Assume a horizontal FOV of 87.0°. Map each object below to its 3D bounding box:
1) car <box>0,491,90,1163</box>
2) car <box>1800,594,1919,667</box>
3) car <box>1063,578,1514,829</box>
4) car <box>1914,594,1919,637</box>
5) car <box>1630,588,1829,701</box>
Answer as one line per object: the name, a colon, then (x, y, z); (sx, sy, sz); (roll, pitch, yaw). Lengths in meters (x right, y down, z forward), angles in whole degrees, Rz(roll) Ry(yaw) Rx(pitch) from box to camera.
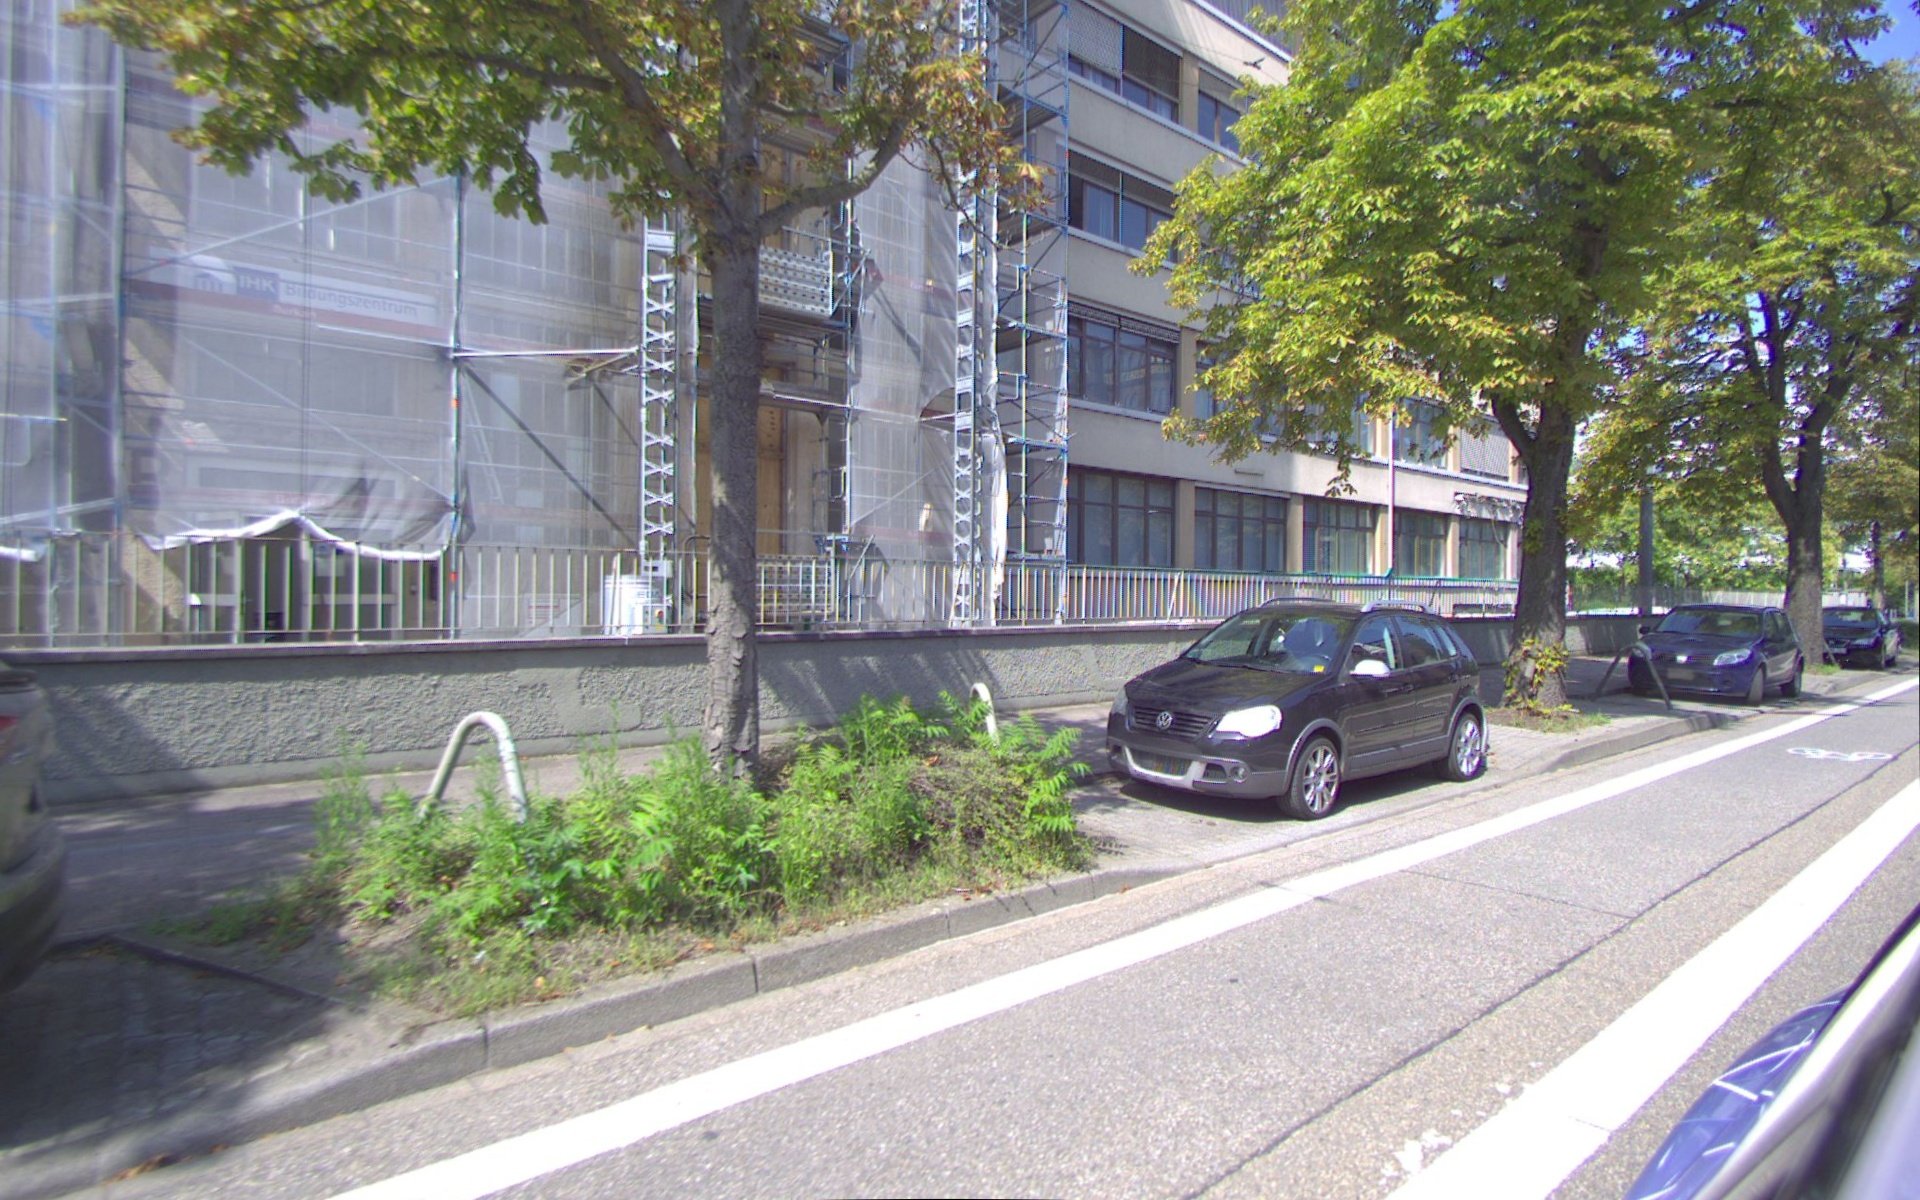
car: (-4.613, 0.582, 1.849); (4.567, 1.710, 1.765); (0, 1, -41)
car: (21.305, 0.648, 23.840); (3.923, 1.491, 1.642); (0, 3, -41)
car: (2.832, 0.636, 8.326); (3.928, 1.590, 1.689); (0, 1, -39)
car: (35.362, 0.549, 35.944); (3.808, 1.492, 1.642); (0, 1, -39)
car: (12.644, 0.650, 16.553); (4.009, 1.589, 1.645); (1, 2, -39)
